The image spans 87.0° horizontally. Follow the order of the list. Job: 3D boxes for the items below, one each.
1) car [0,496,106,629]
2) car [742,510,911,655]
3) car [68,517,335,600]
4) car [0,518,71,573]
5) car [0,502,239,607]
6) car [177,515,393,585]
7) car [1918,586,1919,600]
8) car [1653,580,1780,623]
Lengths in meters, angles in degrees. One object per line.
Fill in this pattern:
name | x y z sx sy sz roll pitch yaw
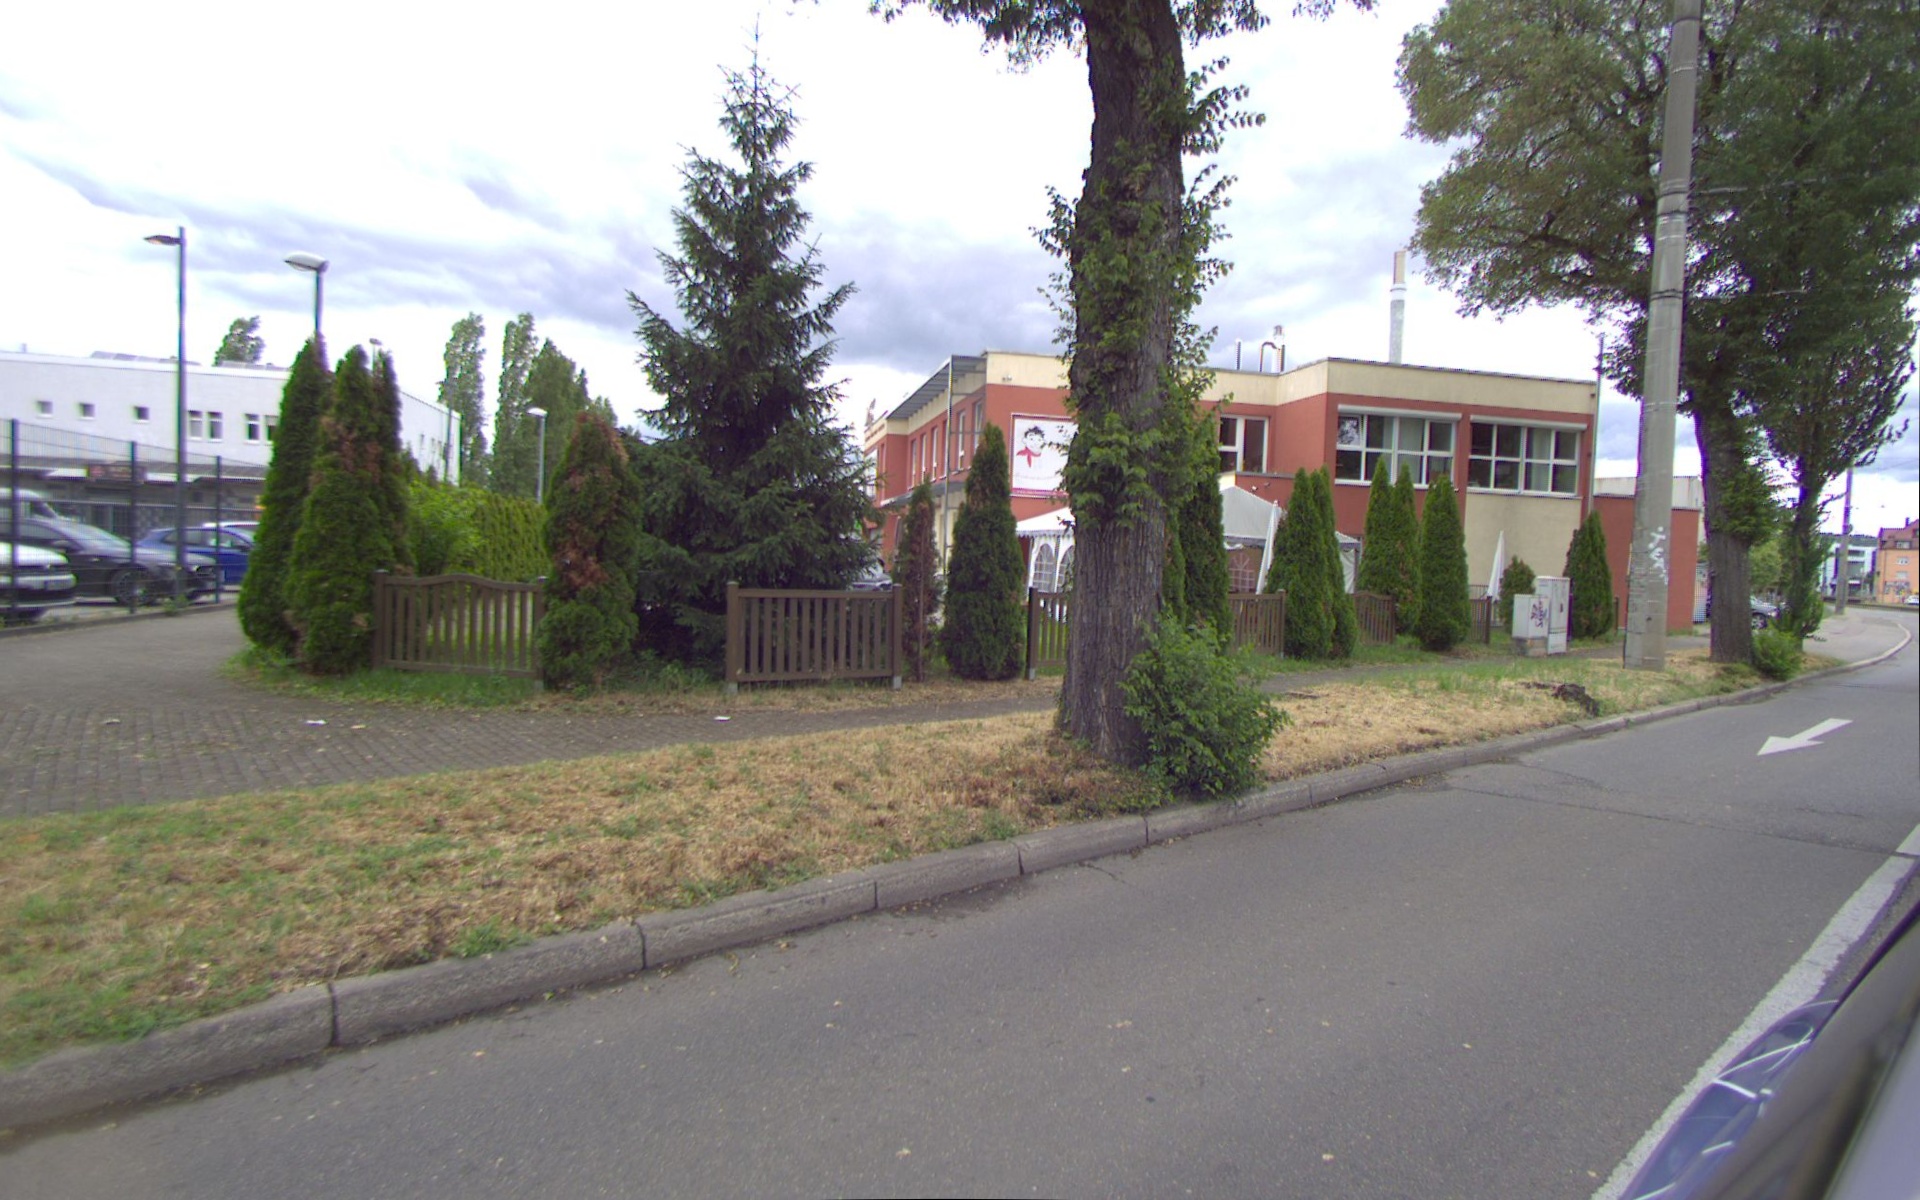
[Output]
car | -14.434 -0.558 13.354 4.407 1.686 2.005 1 2 -14
car | -2.302 -0.266 16.478 1.958 2.039 4.008 0 0 -19
car | -17.020 -0.924 22.966 4.407 1.686 2.005 1 2 -14
car | -31.206 -1.719 32.006 4.181 1.670 2.004 0 0 -17
car | -15.558 -0.809 17.660 4.407 1.686 2.005 1 2 -14
car | -17.976 -1.321 27.200 4.407 1.686 2.005 1 2 -14
car | 148.437 -1.059 155.254 1.992 2.039 3.940 0 0 42
car | 30.936 0.027 41.431 3.986 1.666 1.867 0 0 43
